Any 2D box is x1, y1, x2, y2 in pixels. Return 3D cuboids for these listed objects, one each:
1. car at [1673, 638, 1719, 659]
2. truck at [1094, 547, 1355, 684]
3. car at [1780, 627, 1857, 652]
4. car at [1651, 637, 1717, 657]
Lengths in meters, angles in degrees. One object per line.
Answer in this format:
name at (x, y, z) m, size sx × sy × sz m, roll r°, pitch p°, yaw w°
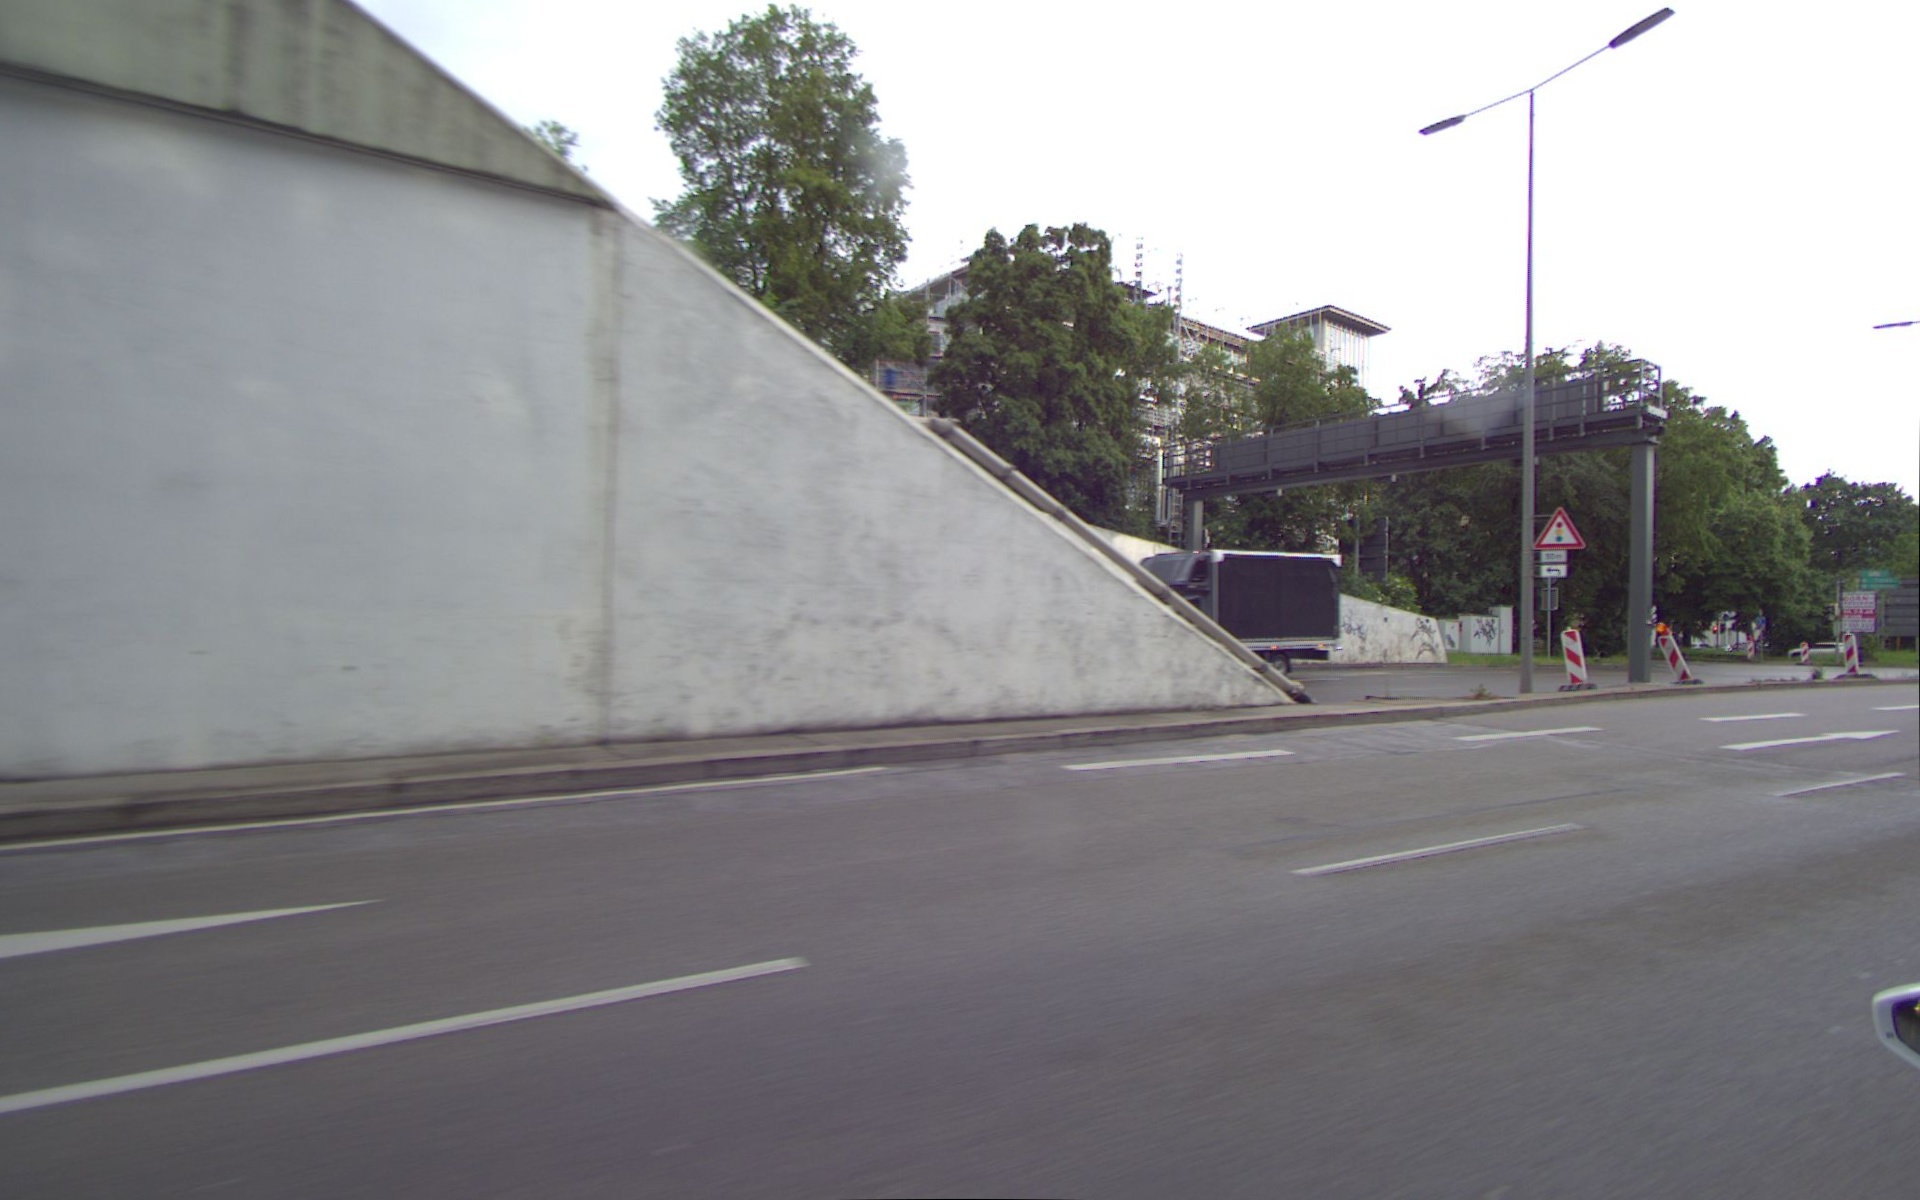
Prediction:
car at (63.886, 4.172, 87.216) m, size 3.955 × 1.706 × 1.882 m, roll 0°, pitch -1°, yaw -32°
truck at (7.273, 0.431, 27.326) m, size 7.065 × 3.320 × 2.783 m, roll 1°, pitch -1°, yaw -31°
car at (63.483, 2.896, 74.336) m, size 1.874 × 1.706 × 3.971 m, roll 0°, pitch -1°, yaw -28°
car at (59.820, 3.897, 83.051) m, size 1.874 × 1.534 × 3.971 m, roll 0°, pitch -1°, yaw -28°
